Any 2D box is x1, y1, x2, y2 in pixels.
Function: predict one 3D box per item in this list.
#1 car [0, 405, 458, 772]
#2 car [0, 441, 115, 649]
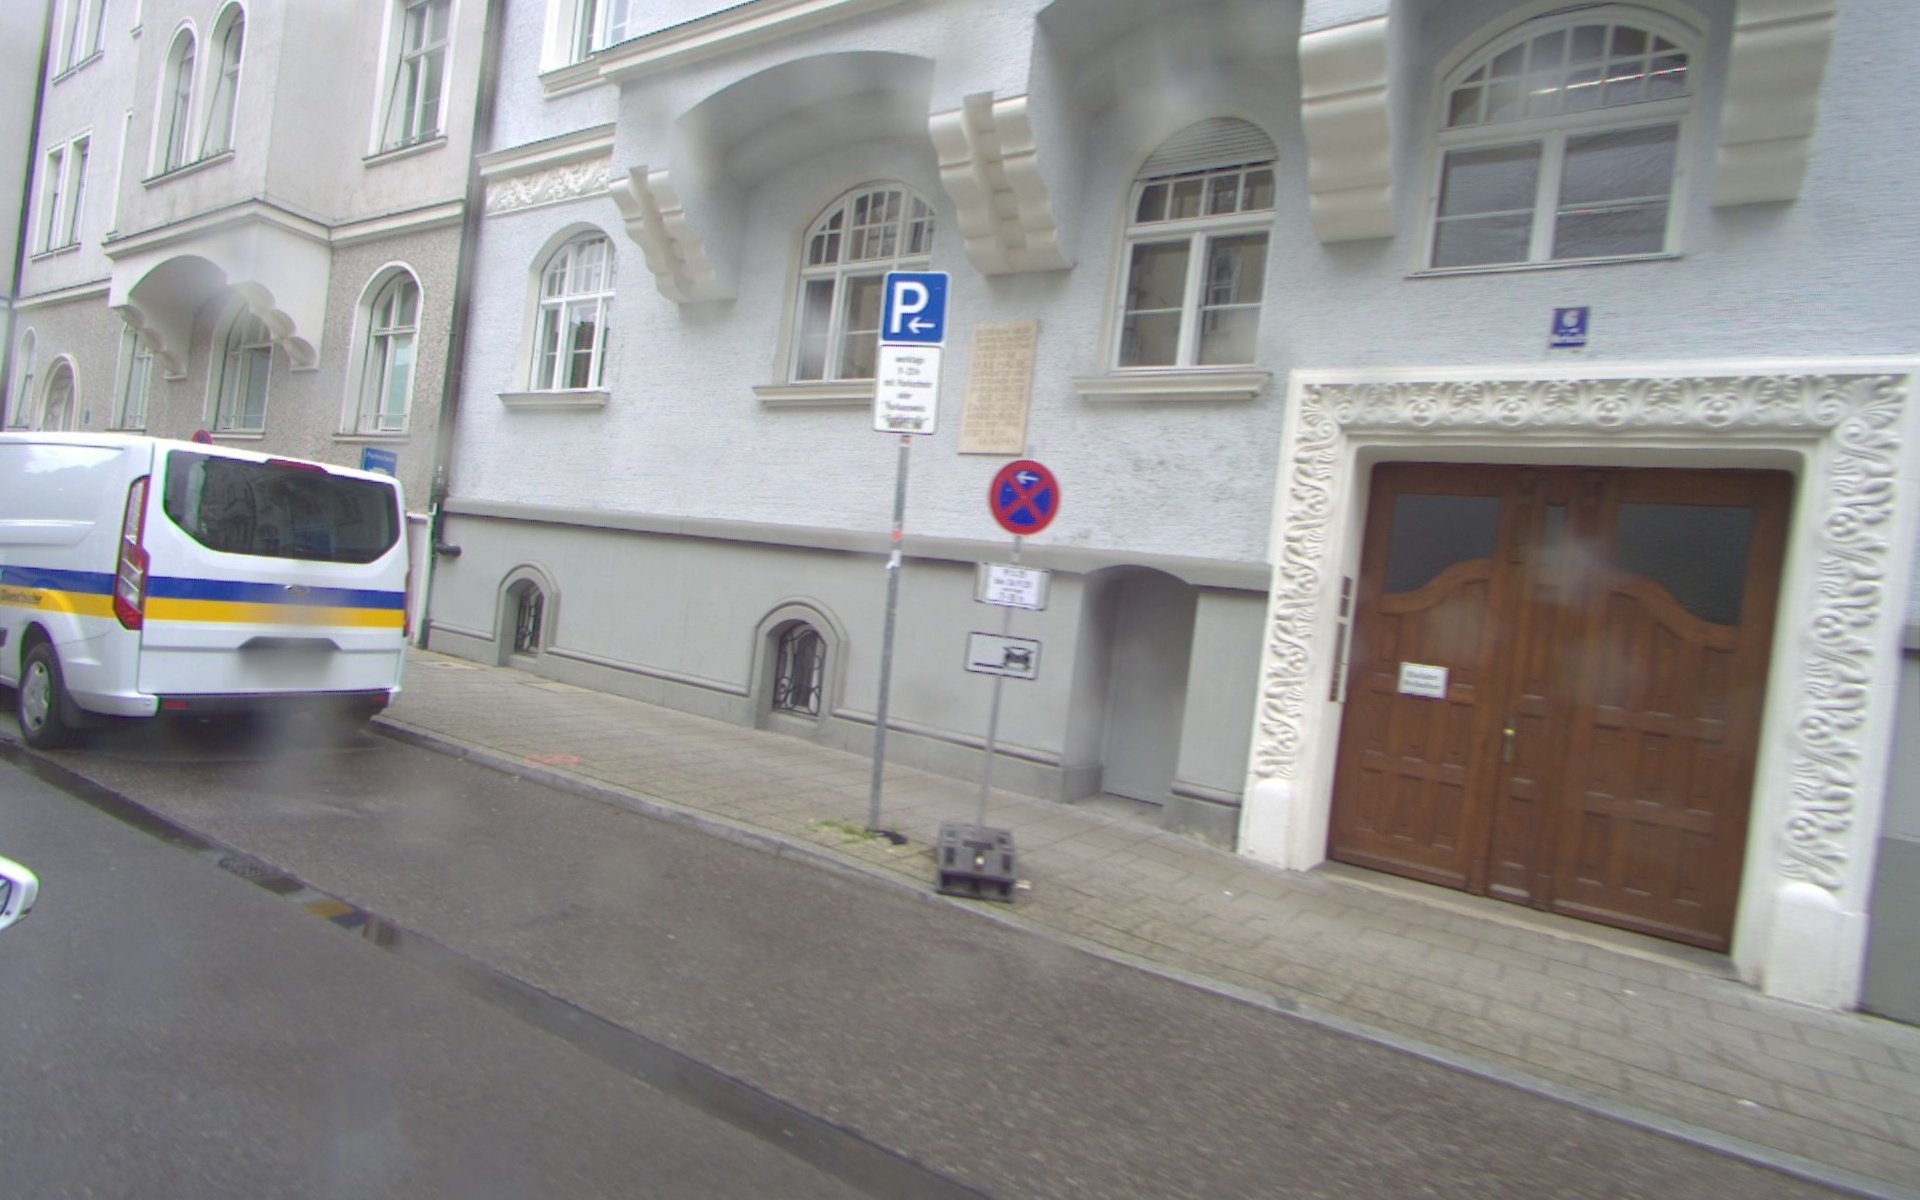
[{"bbox_3d":[-6.316,-0.237,7.655,4.909,2.038,1.962,7,0,30],"label":"car"},{"bbox_3d":[-11.374,-0.786,10.742,4.909,1.961,1.962,7,0,30],"label":"car"}]
